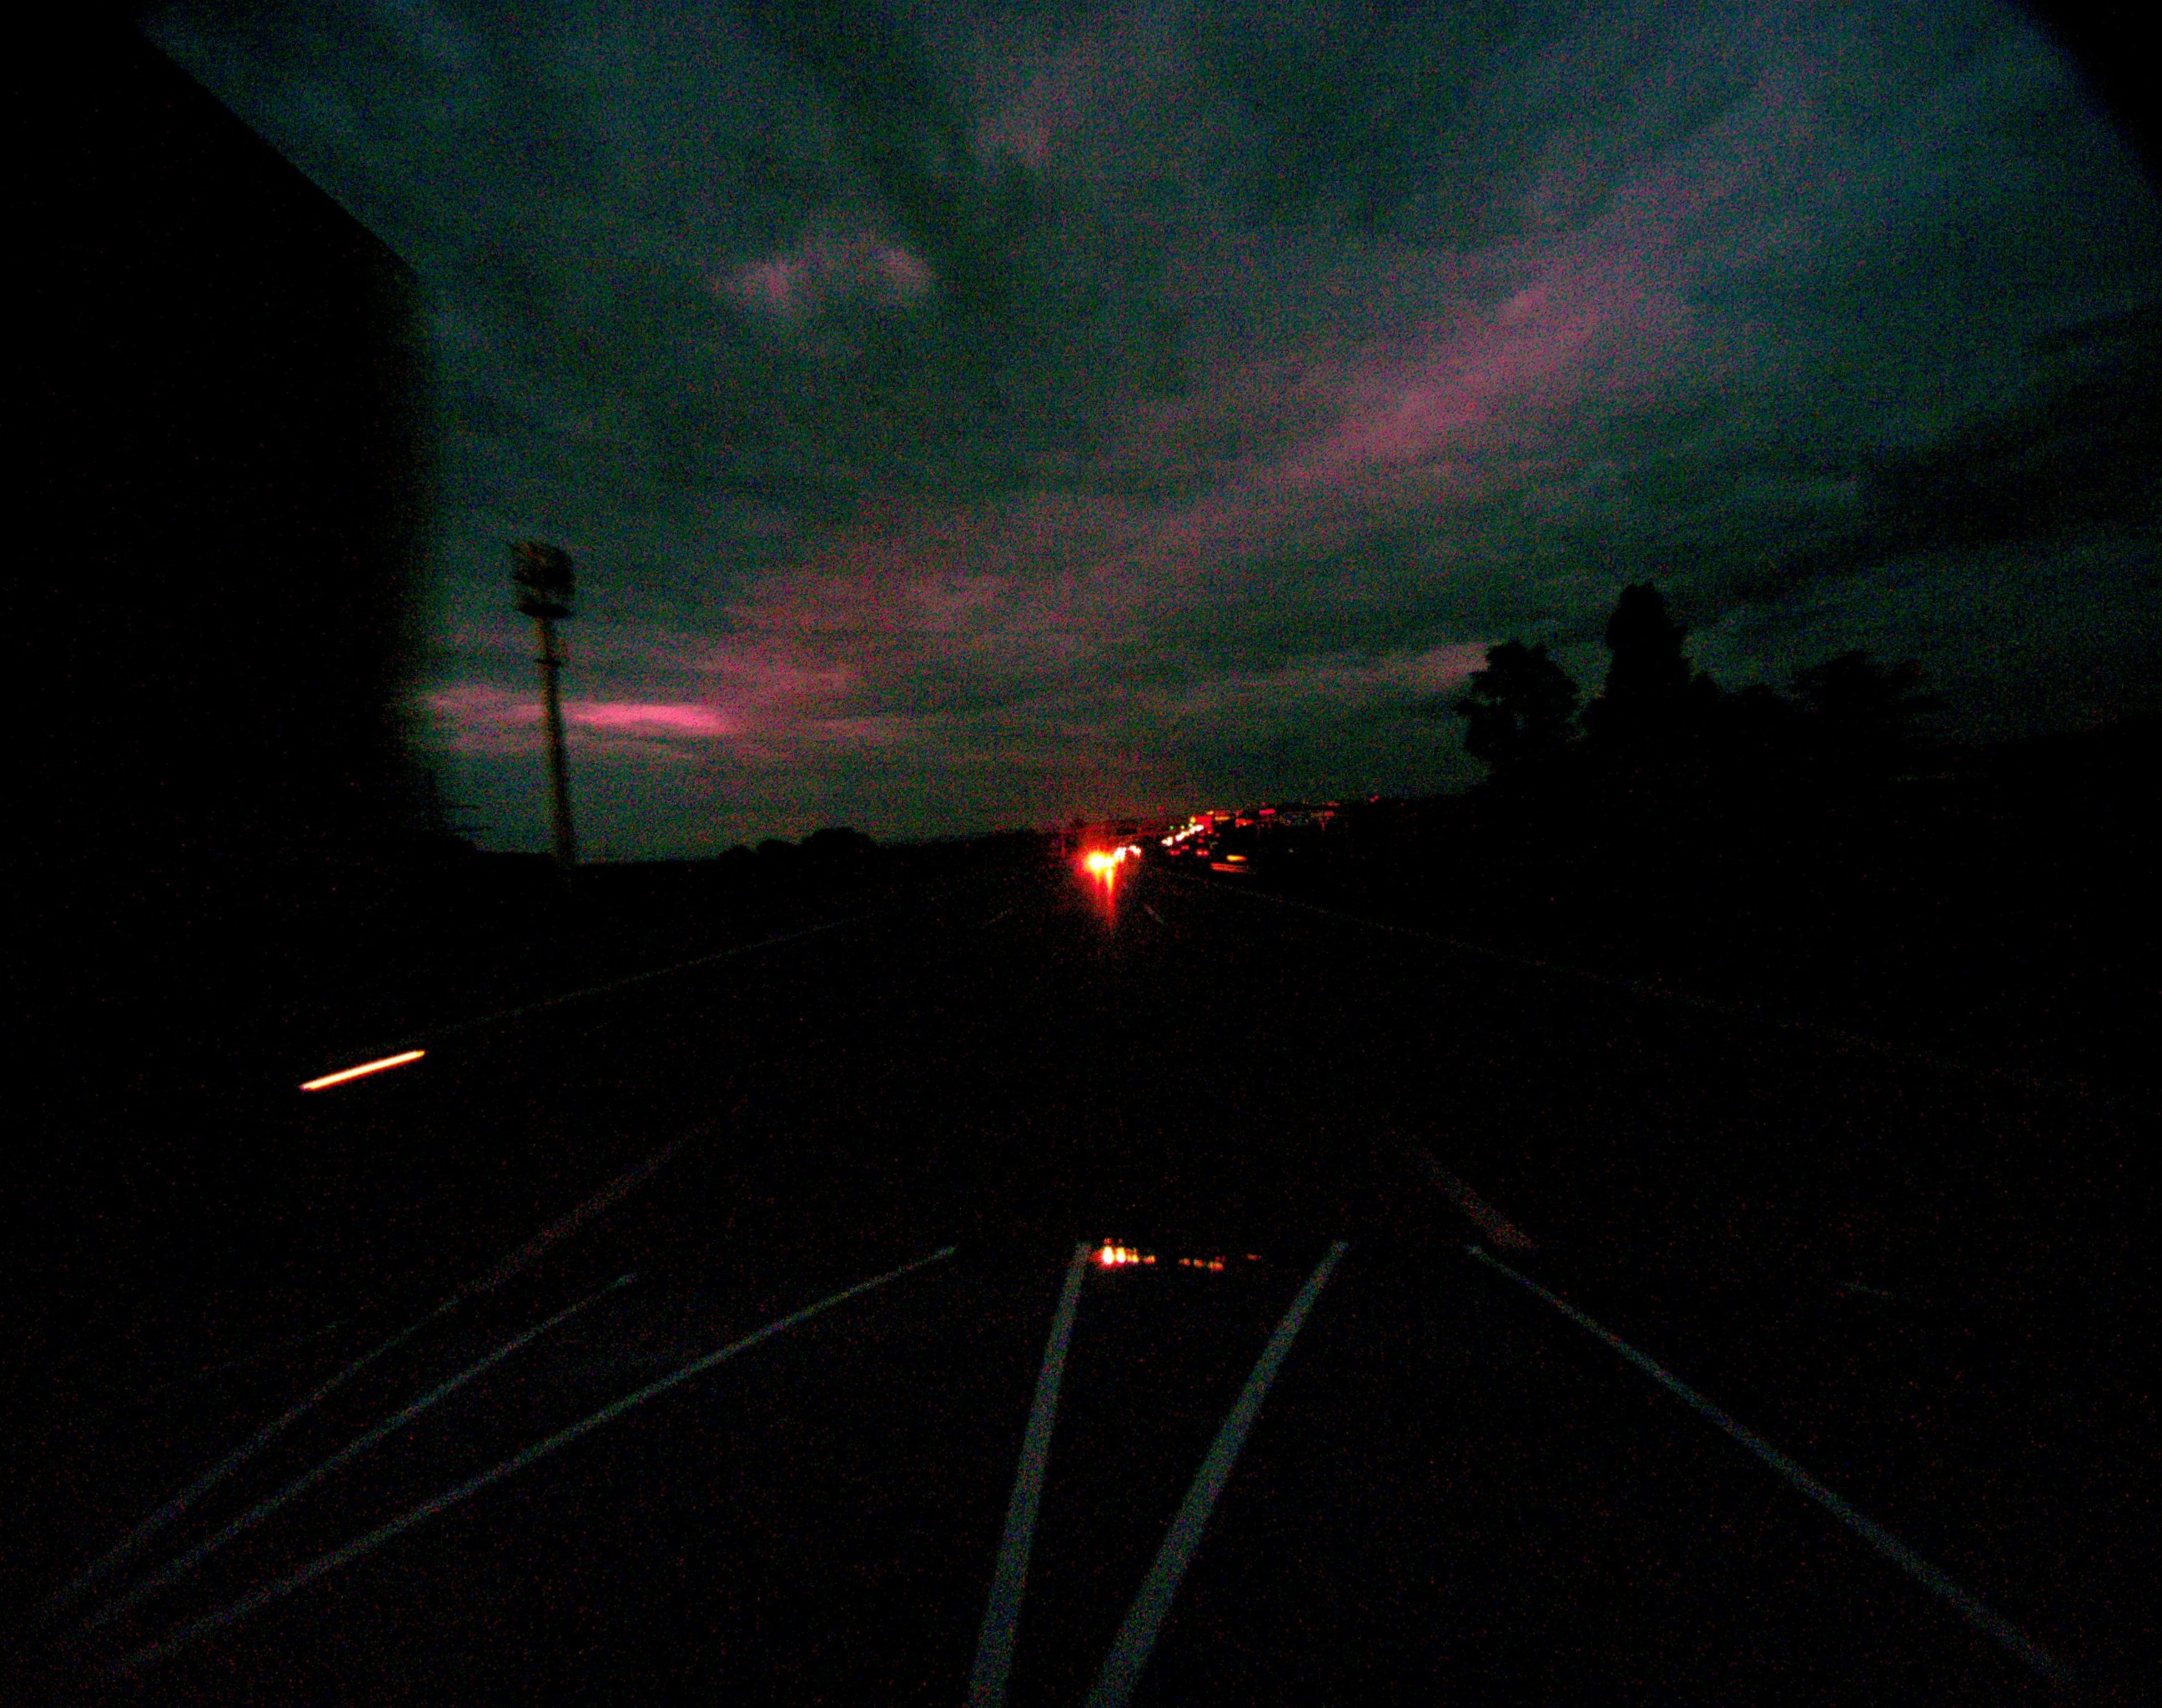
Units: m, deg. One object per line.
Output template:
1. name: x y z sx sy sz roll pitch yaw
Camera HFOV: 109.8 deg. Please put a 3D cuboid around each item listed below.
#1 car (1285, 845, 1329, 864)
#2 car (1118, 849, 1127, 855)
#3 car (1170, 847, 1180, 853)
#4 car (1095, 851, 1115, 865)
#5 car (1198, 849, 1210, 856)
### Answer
1. car: 18.382 0.019 62.081 1.999 1.395 4.797 -2 0 -2
2. car: 10.776 -0.519 196.651 1.997 1.342 4.177 -4 1 9
3. car: 22.286 -0.918 180.459 1.998 1.395 4.329 -2 0 1
4. car: 2.577 0.405 80.484 1.998 1.342 4.175 0 2 3
5. car: 24.633 -0.297 152.227 1.725 1.220 4.183 -2 0 3
